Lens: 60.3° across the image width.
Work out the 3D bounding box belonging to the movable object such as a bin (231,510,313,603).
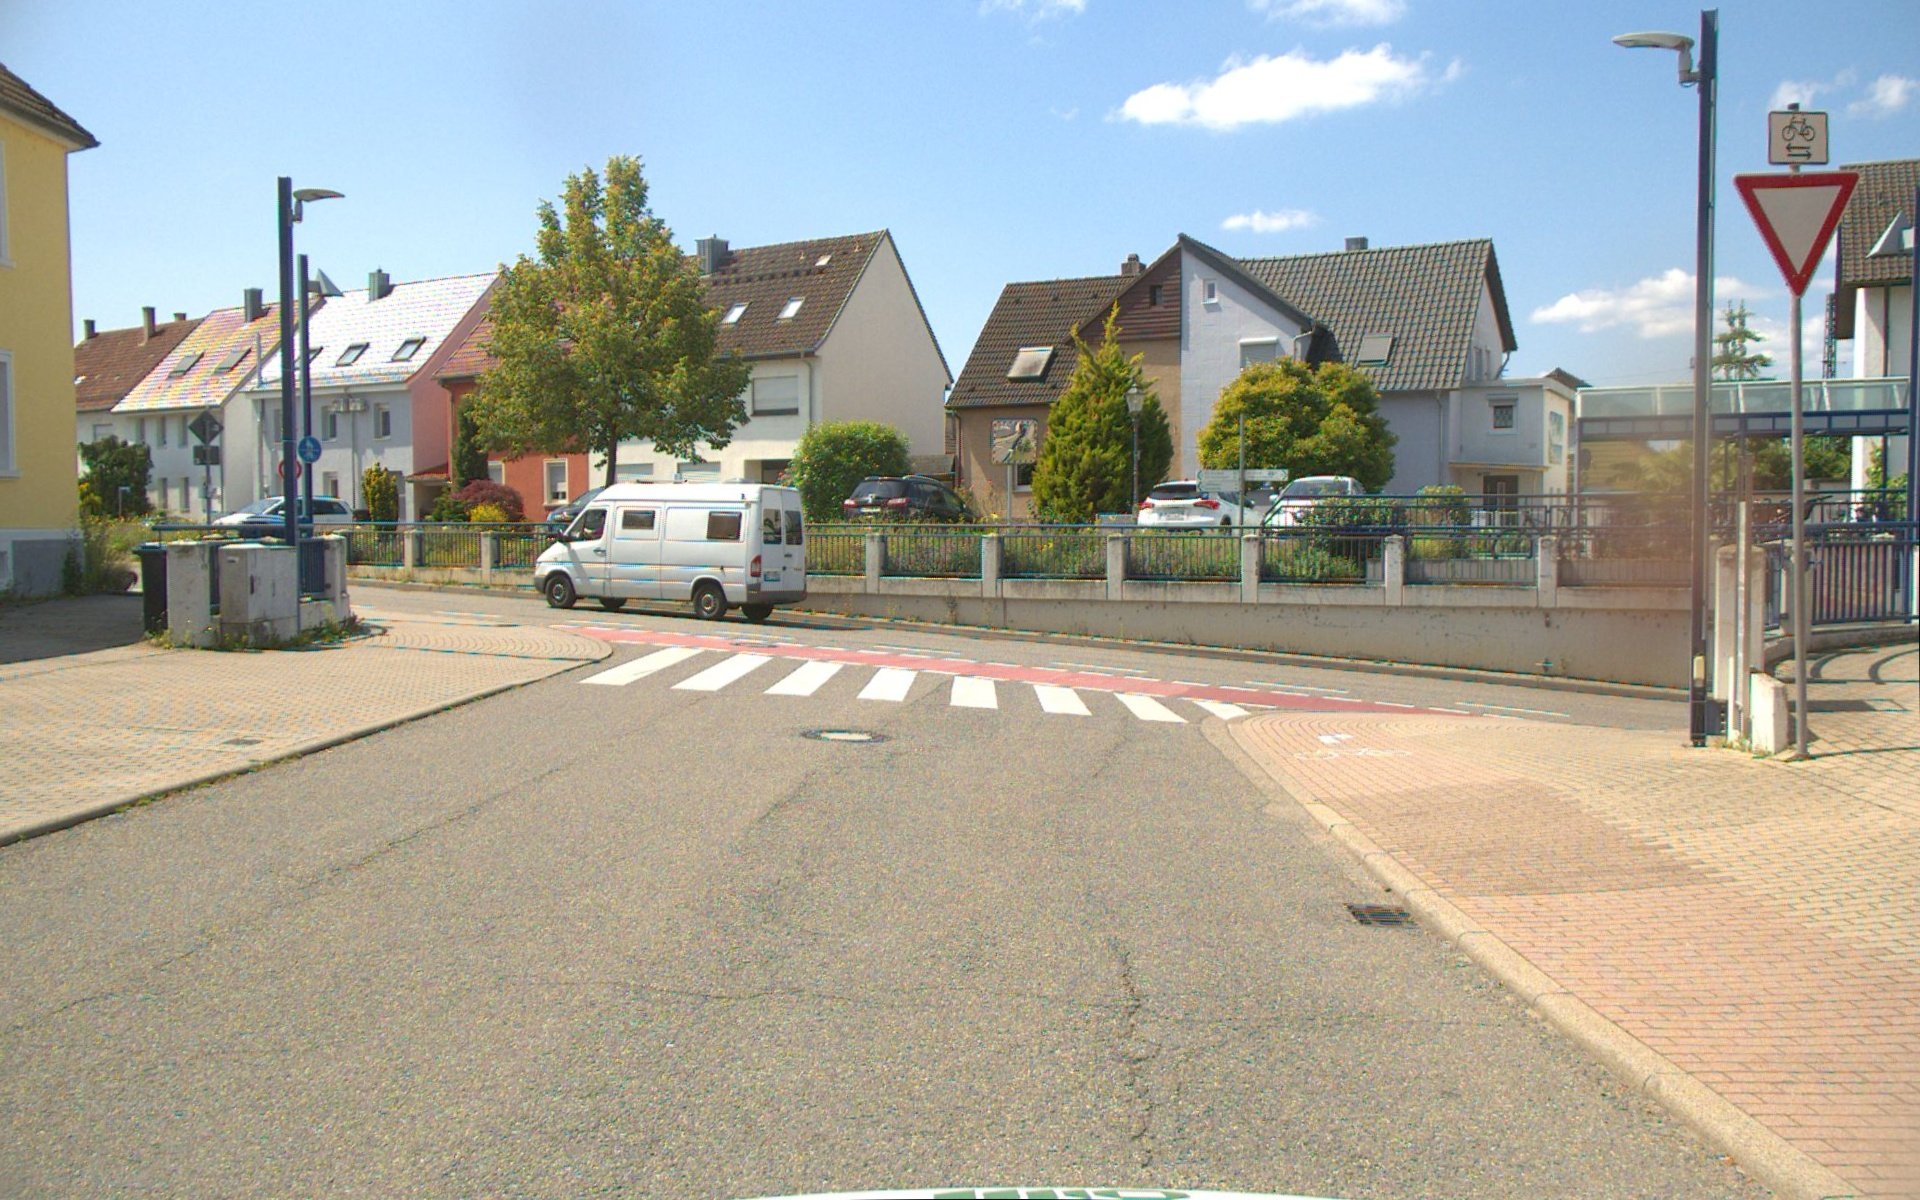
[{"bbox_3d":[-9.451,-0.612,22.777,0.825,1.234,1.272,0,3,-13],"label":"movable object such as a bin"}]

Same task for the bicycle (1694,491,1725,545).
[{"bbox_3d":[14.410,-1.578,31.793,0.365,1.012,1.963,2,4,29],"label":"bicycle"}]

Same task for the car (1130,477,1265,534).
[{"bbox_3d":[4.933,-1.928,34.056,1.789,1.037,3.457,2,2,25],"label":"car"}]

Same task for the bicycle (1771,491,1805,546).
[{"bbox_3d":[15.640,-1.547,31.253,0.417,1.012,1.966,1,3,23],"label":"bicycle"}]

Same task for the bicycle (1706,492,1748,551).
[{"bbox_3d":[13.664,-1.412,29.448,0.427,1.012,2.098,2,4,31],"label":"bicycle"}]

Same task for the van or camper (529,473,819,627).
[{"bbox_3d":[-5.583,-1.004,32.202,5.270,2.675,2.003,4,1,25],"label":"van or camper"}]

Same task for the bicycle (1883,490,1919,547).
[{"bbox_3d":[17.461,-1.499,30.419,0.508,1.012,1.967,1,3,20],"label":"bicycle"}]

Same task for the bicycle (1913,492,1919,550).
[{"bbox_3d":[16.915,-1.357,28.504,0.521,1.012,2.188,1,3,22],"label":"bicycle"}]

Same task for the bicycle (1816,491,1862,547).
[{"bbox_3d":[16.365,-1.523,30.825,0.463,1.012,1.967,1,3,20],"label":"bicycle"}]

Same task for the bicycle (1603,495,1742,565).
[{"bbox_3d":[11.848,-1.173,27.552,2.071,1.145,0.392,1,3,20],"label":"bicycle"}]

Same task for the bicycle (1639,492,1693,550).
[{"bbox_3d":[12.669,-1.425,29.663,0.428,1.012,2.095,2,4,36],"label":"bicycle"}]

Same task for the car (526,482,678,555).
[{"bbox_3d":[-8.917,-2.025,41.436,1.831,1.613,3.607,5,3,25],"label":"car"}]

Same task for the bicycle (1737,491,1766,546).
[{"bbox_3d":[15.002,-1.553,31.344,0.365,1.012,1.963,2,4,29],"label":"bicycle"}]

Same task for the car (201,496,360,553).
[{"bbox_3d":[-20.581,-2.269,50.263,1.711,1.514,4.246,5,3,32],"label":"car"}]

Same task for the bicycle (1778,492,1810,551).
[{"bbox_3d":[14.767,-1.401,29.266,0.427,1.012,2.278,2,4,28],"label":"bicycle"}]

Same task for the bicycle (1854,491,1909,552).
[{"bbox_3d":[15.954,-1.367,28.668,0.521,1.012,2.281,1,3,22],"label":"bicycle"}]

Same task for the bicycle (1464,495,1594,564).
[{"bbox_3d":[9.720,-1.217,28.313,2.071,1.145,0.333,1,3,20],"label":"bicycle"}]

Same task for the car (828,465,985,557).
[{"bbox_3d":[-1.148,-1.978,37.520,1.831,1.827,3.997,5,3,25],"label":"car"}]

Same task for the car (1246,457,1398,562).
[{"bbox_3d":[7.274,-1.760,32.938,1.955,1.827,4.194,5,3,25],"label":"car"}]

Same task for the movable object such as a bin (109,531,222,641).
[{"bbox_3d":[-9.318,-0.180,19.427,0.867,1.246,0.902,0,2,1],"label":"movable object such as a bin"}]

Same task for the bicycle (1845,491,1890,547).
[{"bbox_3d":[16.796,-1.512,30.644,0.405,1.012,1.967,1,3,20],"label":"bicycle"}]
